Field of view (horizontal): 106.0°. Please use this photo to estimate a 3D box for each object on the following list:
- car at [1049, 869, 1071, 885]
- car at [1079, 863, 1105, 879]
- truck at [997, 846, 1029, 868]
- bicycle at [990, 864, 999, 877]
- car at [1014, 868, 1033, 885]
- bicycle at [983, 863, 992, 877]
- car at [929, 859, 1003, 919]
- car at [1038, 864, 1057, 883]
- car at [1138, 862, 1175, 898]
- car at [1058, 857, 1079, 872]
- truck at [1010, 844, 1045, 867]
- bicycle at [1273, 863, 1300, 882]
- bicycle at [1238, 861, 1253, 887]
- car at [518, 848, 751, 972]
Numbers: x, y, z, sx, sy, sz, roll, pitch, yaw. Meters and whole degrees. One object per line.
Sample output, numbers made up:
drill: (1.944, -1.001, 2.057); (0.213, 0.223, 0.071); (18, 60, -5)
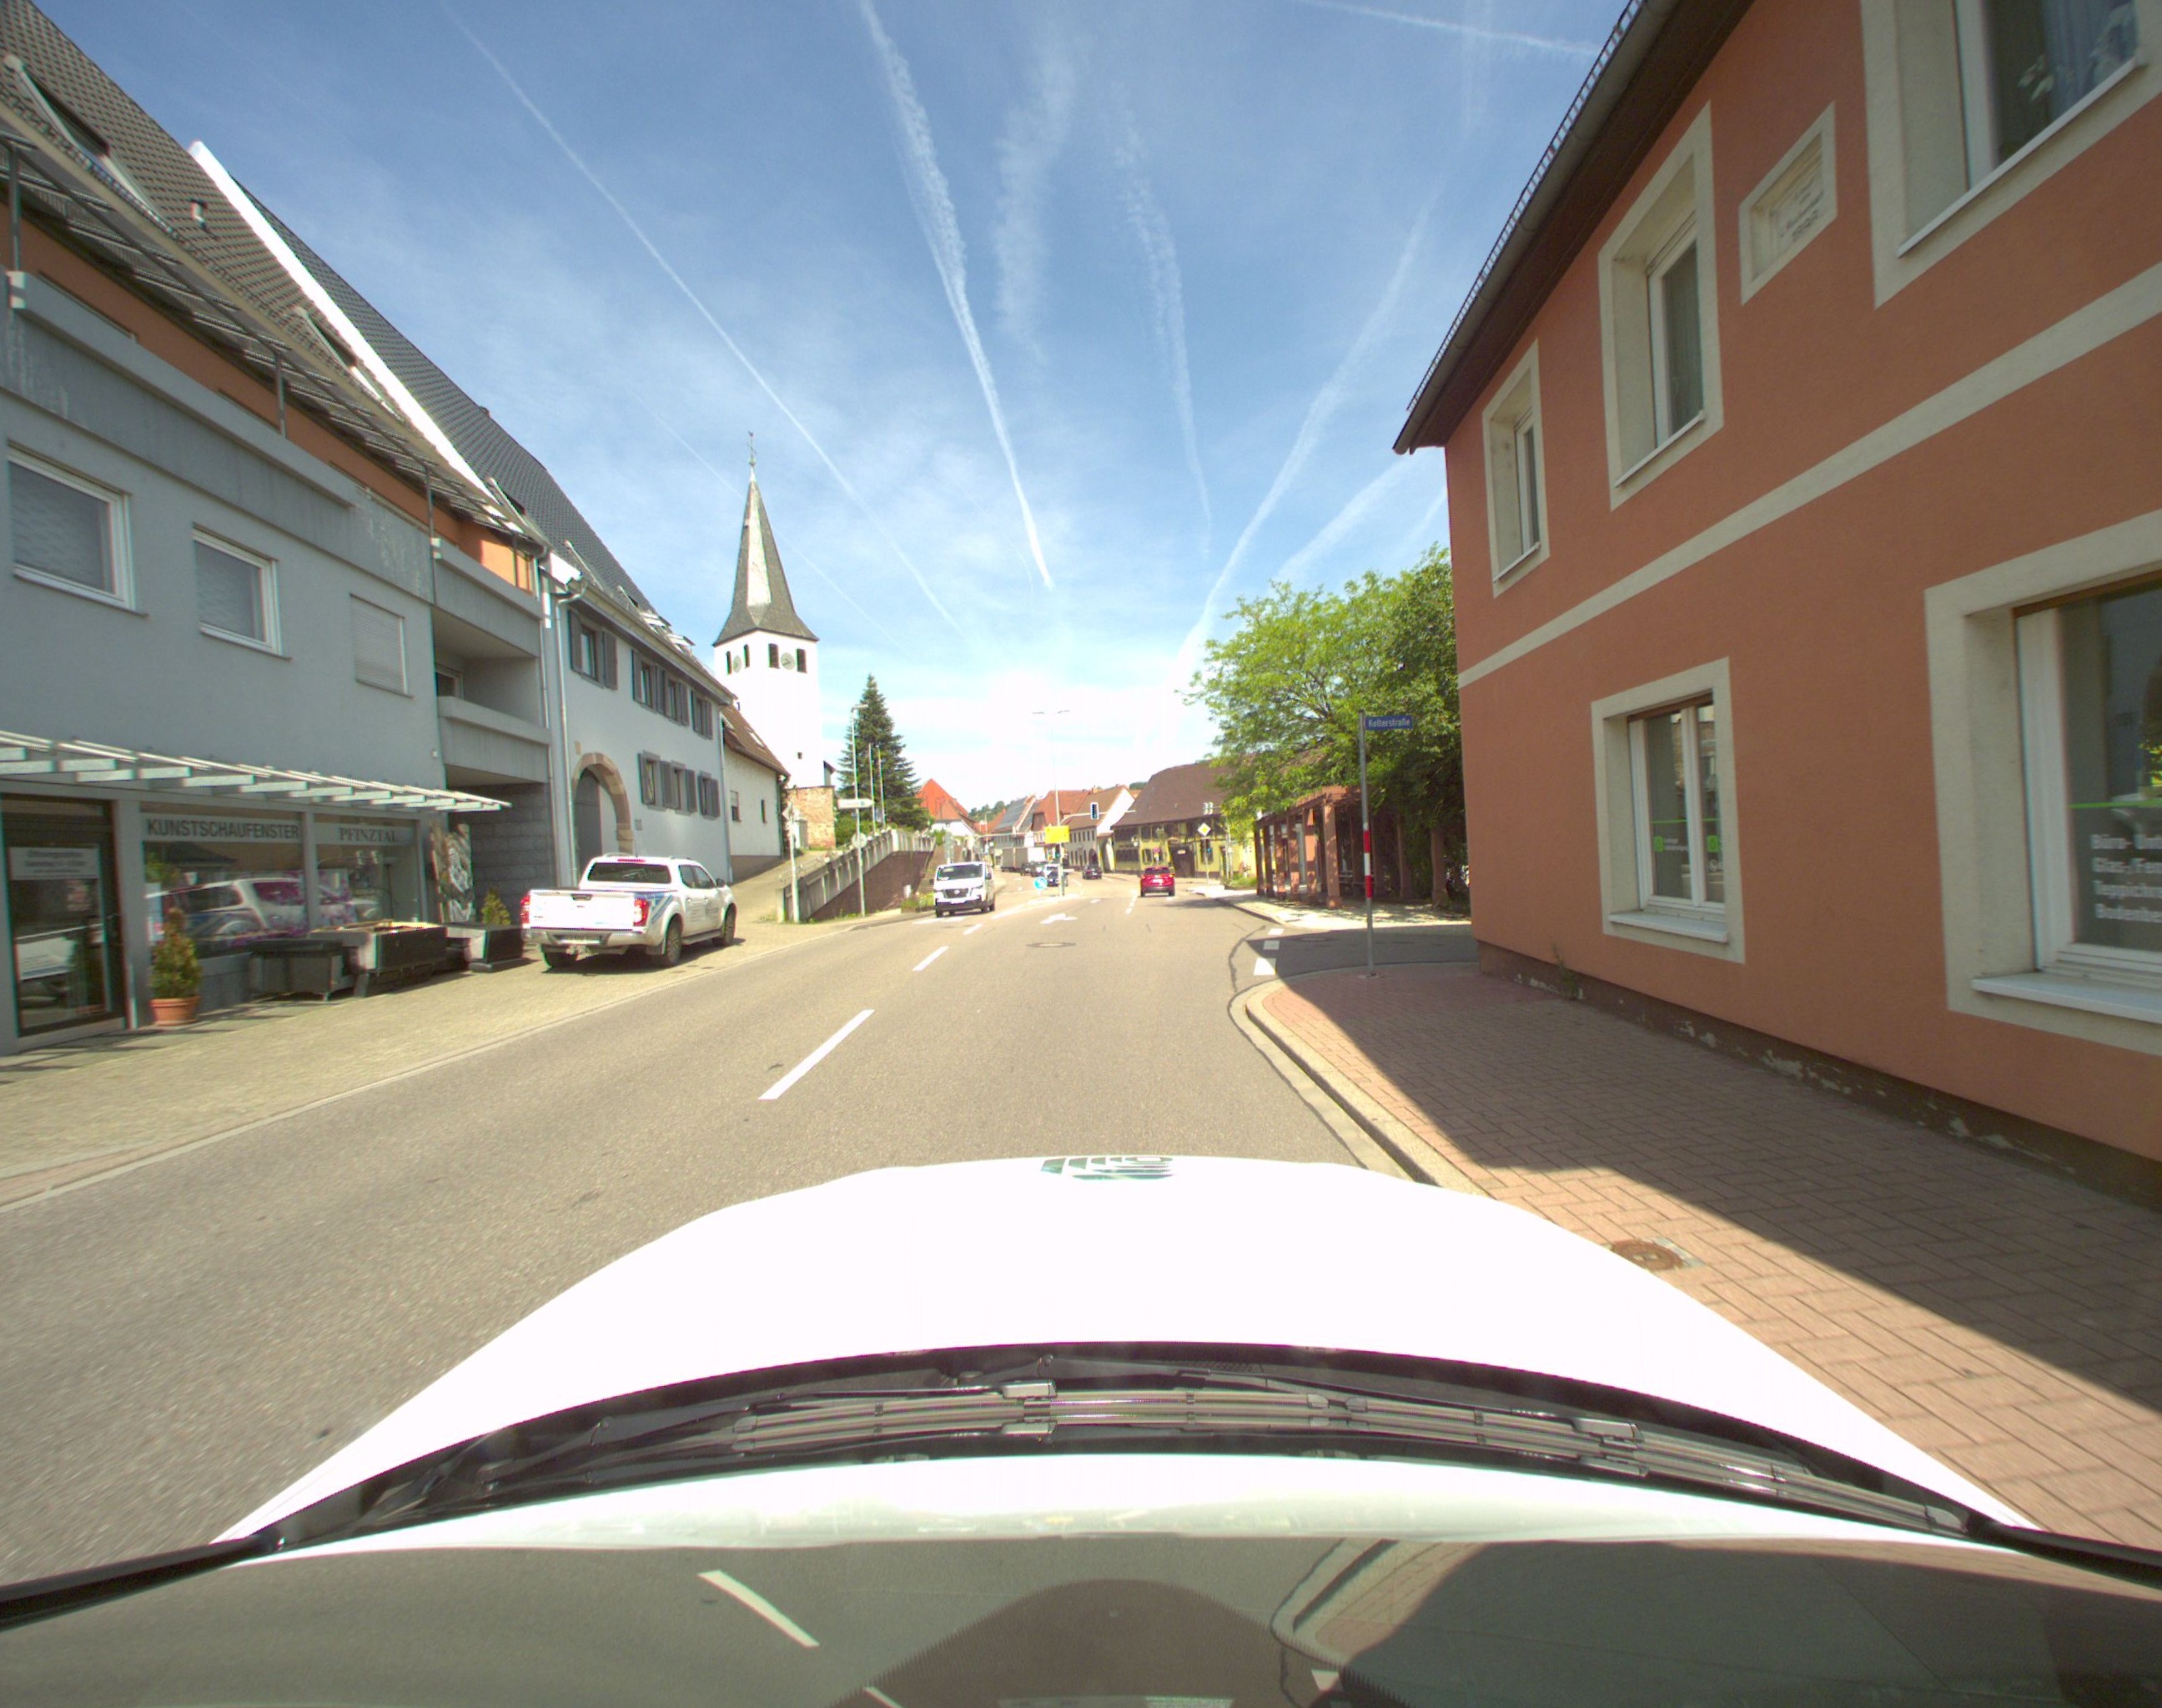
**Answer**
car: (-2.025, 2.251, 80.506); (1.813, 1.434, 4.251); (-3, 0, 2)
car: (1.234, 1.948, 93.383); (1.823, 1.738, 3.986); (-4, 0, -14)
truck: (-11.625, 0.506, 138.075); (3.168, 3.460, 10.646); (-1, -1, -18)
bicycle: (-10.808, 2.025, 101.924); (0.555, 1.607, 2.566); (-1, 0, 5)
car: (-8.274, 3.202, 115.995); (1.762, 2.246, 4.527); (-1, 0, -16)
bicycle: (-11.741, 1.980, 102.257); (0.638, 1.779, 2.674); (-1, 0, 5)
car: (-4.265, 1.229, 30.986); (1.963, 1.933, 5.312); (-4, 0, -1)
car: (-3.879, 2.194, 93.865); (1.819, 1.906, 4.952); (-3, 0, -7)
car: (4.138, 1.371, 44.344); (1.795, 1.663, 3.820); (-4, 0, 7)
car: (-1.794, 1.478, 112.121); (1.851, 2.014, 3.977); (-1, 0, -17)
truck: (-8.537, 0.273, 128.591); (3.232, 3.549, 9.173); (-1, 0, -18)
bicycle: (14.645, 1.331, 58.053); (1.795, 1.234, 0.550); (-4, -1, 4)
bicycle: (8.685, 1.053, 43.042); (0.526, 1.279, 1.996); (-6, -1, 8)
car: (-7.553, 0.840, 14.506); (1.803, 1.798, 5.272); (0, -1, -7)
